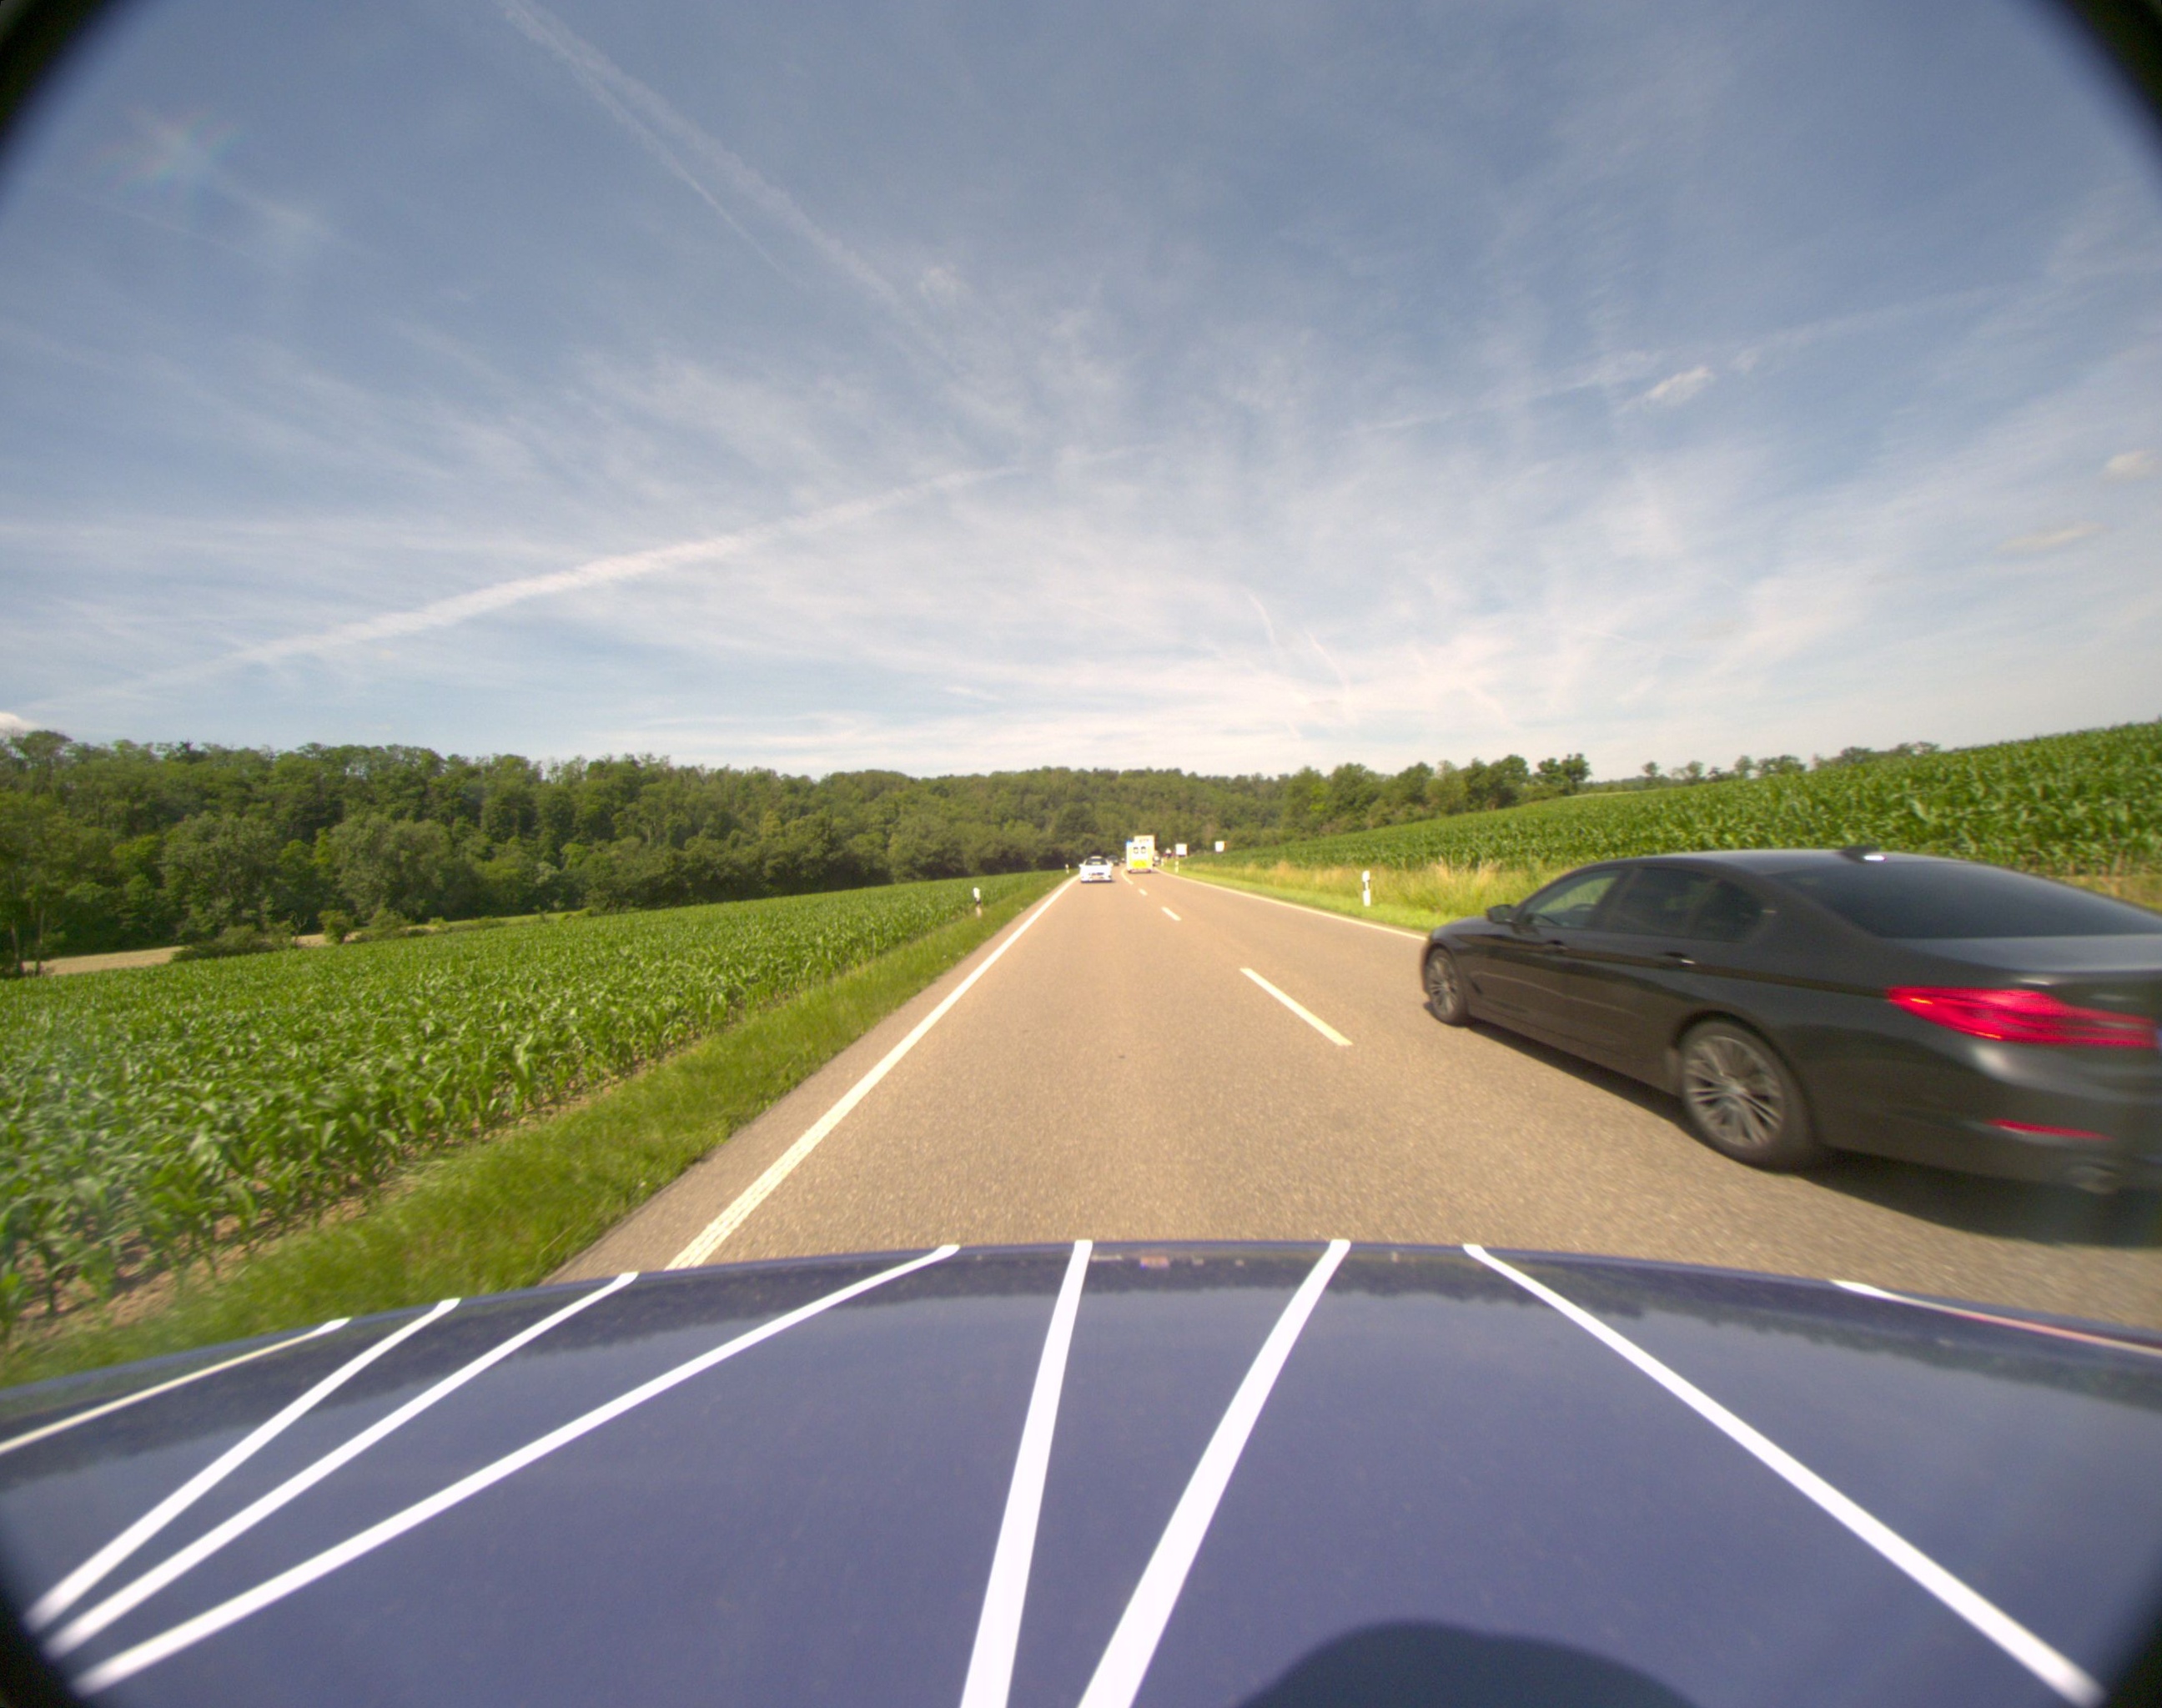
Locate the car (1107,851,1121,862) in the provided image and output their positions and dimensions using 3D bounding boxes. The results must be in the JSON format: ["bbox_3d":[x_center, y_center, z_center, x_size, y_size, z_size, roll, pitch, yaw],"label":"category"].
[{"bbox_3d":[4.907,0.400,111.873,1.742,1.445,4.036,-2,1,5],"label":"car"}]

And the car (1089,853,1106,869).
[{"bbox_3d":[1.811,0.700,81.199,1.717,1.523,3.999,-2,1,3],"label":"car"}]

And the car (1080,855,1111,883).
[{"bbox_3d":[0.873,0.868,45.209,1.743,1.445,4.035,-2,1,1],"label":"car"}]

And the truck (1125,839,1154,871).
[{"bbox_3d":[5.156,0.052,68.196,2.213,2.656,6.416,-1,1,1],"label":"truck"}]

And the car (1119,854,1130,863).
[{"bbox_3d":[7.727,0.706,135.690,1.742,1.445,4.037,-2,1,6],"label":"car"}]

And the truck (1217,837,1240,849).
[{"bbox_3d":[51.177,-3.906,263.185,2.773,3.975,17.056,-1,1,27],"label":"truck"}]

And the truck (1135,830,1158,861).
[{"bbox_3d":[9.048,-1.157,105.171,2.833,3.969,16.538,-1,0,5],"label":"truck"}]

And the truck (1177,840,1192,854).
[{"bbox_3d":[27.126,-1.888,198.495,2.745,3.558,9.735,-2,0,13],"label":"truck"}]

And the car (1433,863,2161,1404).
[{"bbox_3d":[3.824,0.820,4.316,1.677,1.448,4.351,-2,0,1],"label":"car"}]
